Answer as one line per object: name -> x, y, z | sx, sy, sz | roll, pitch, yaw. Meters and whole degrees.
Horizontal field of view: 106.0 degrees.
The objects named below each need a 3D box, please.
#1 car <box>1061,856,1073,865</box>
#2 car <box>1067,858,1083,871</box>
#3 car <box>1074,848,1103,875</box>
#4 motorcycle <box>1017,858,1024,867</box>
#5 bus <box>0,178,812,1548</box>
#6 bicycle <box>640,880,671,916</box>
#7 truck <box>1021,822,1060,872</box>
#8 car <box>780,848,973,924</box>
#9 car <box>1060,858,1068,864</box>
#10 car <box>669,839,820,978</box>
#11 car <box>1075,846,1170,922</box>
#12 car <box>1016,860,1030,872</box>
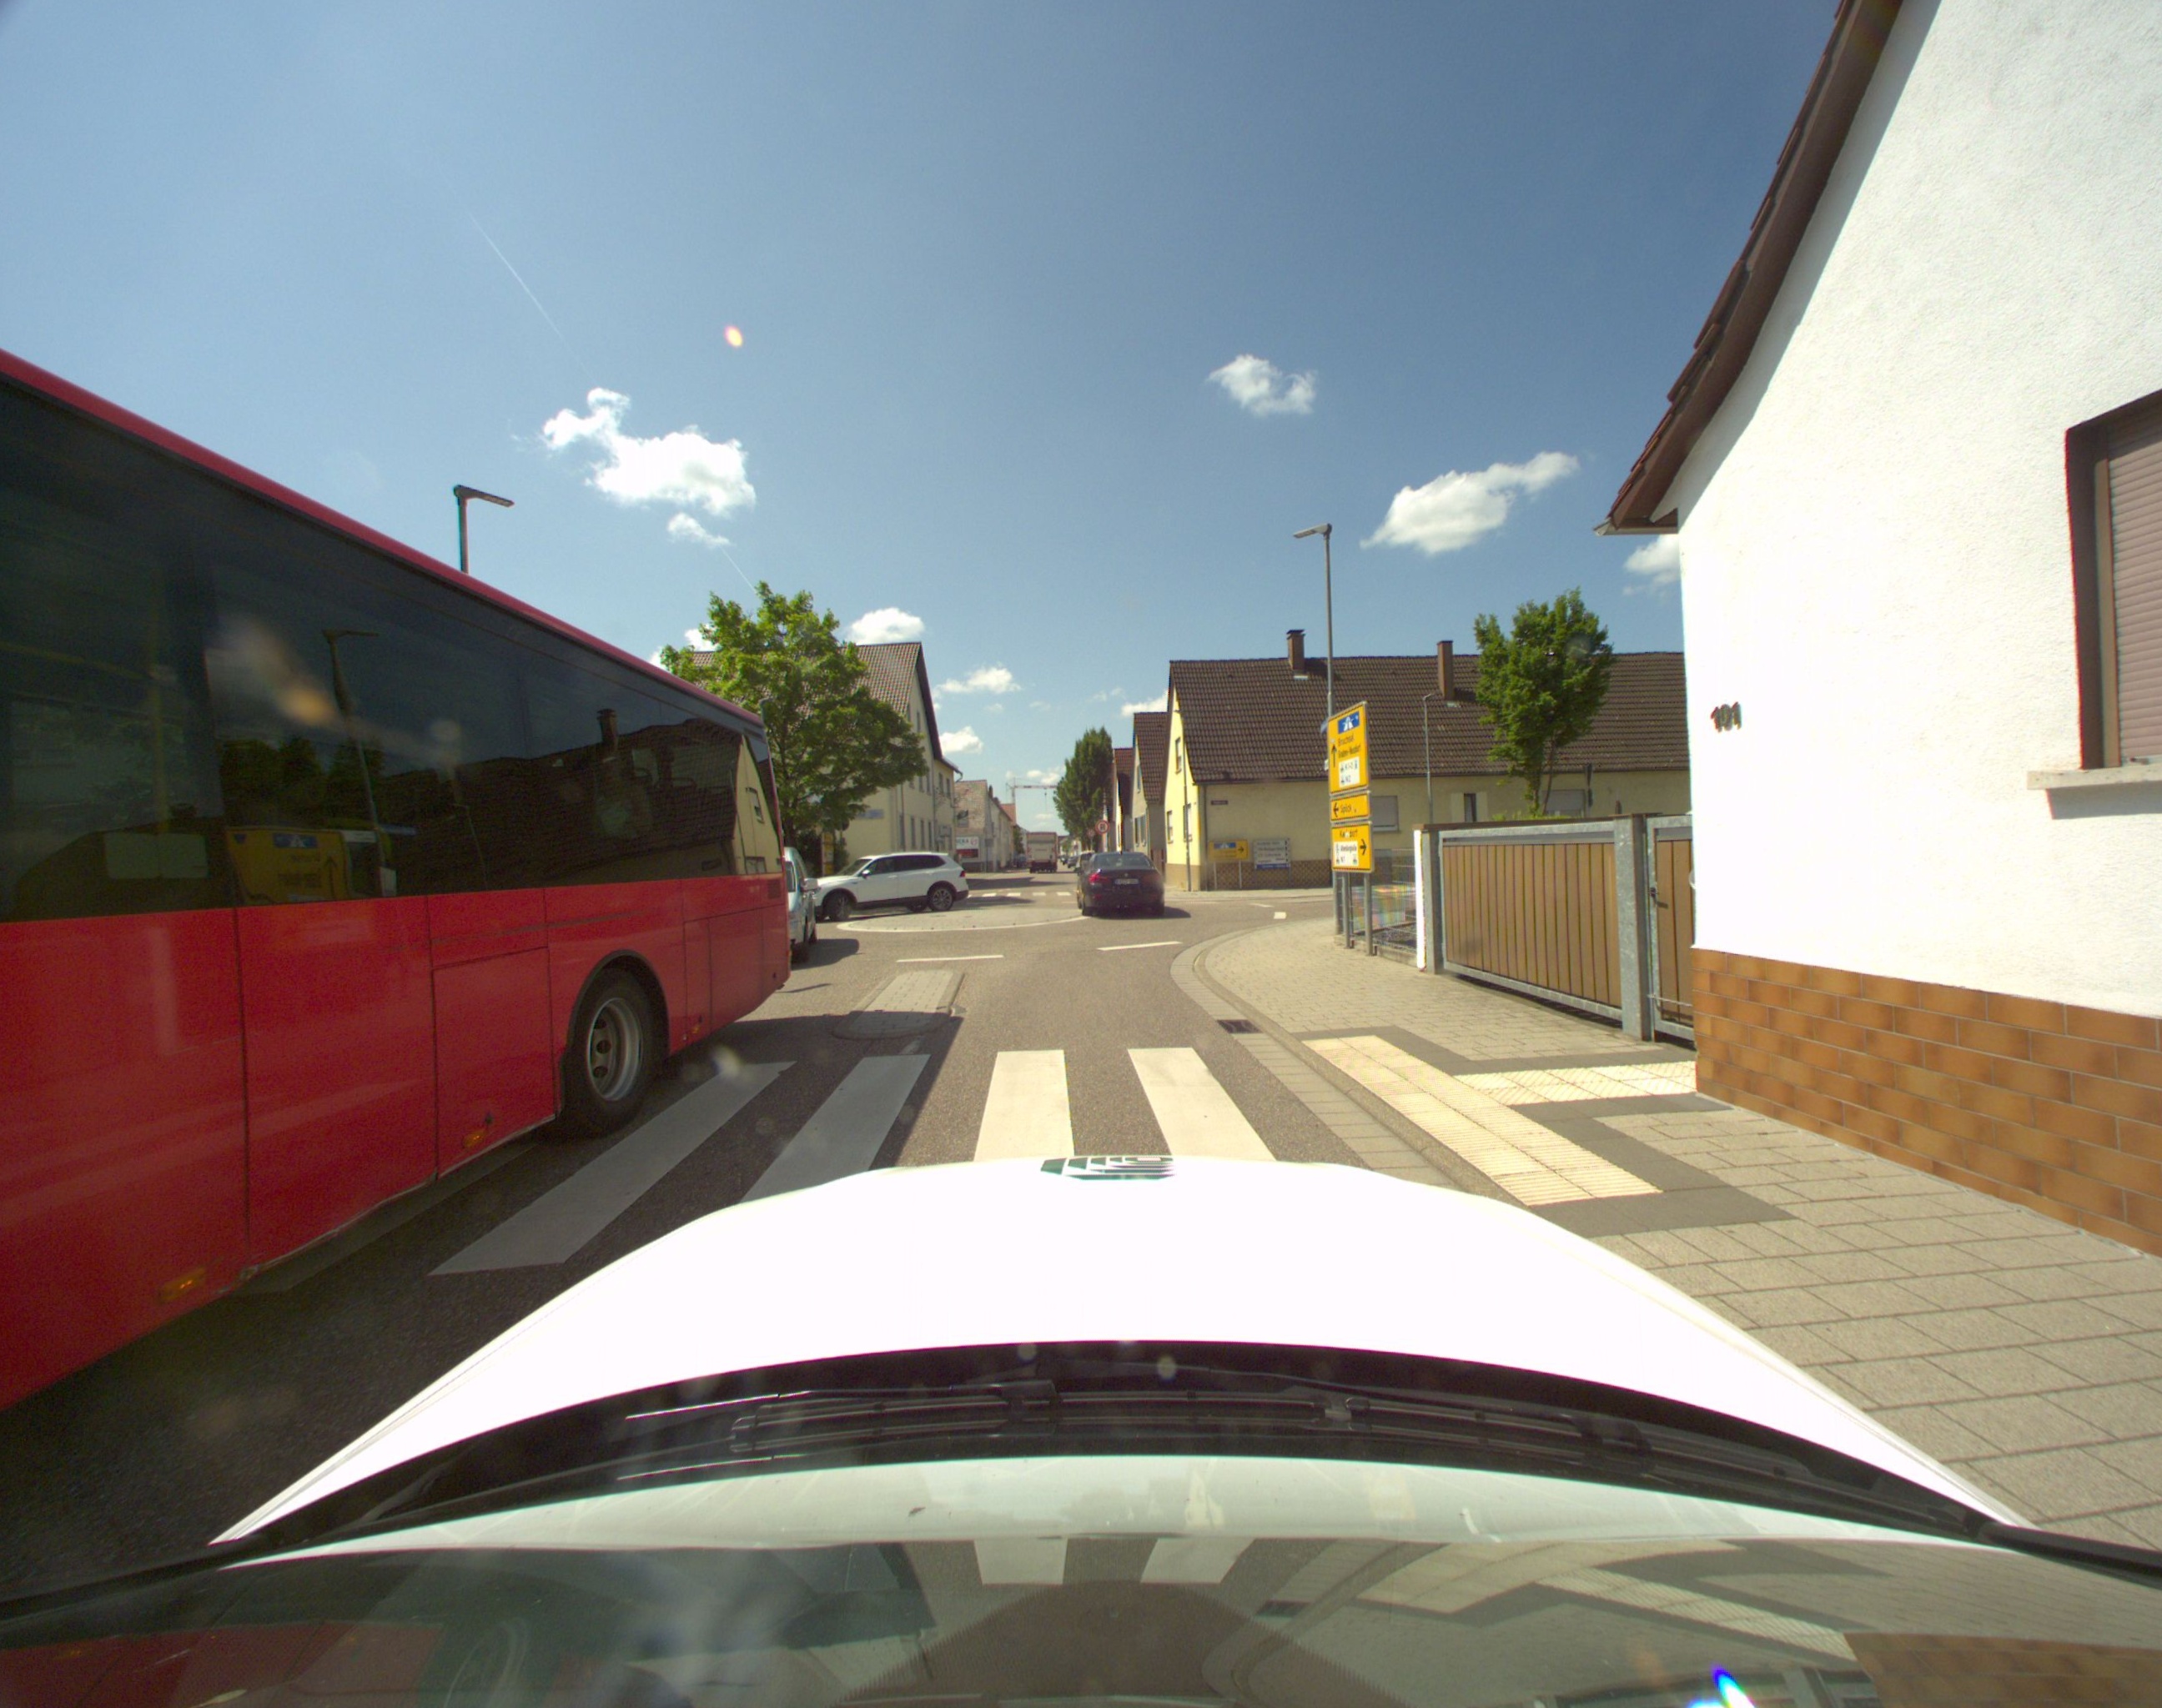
car -> -2.125, 1.019, 124.883 | 1.715, 1.355, 4.153 | -2, 0, -2
car -> -0.703, 1.254, 96.640 | 1.714, 1.461, 4.155 | -2, 0, 0
car -> 0.511, 0.558, 59.780 | 1.716, 1.790, 4.138 | -4, 0, -4
motorcycle -> -7.978, 1.105, 106.733 | 0.844, 1.170, 2.466 | 0, -1, -3
bus -> -3.872, 0.040, 2.271 | 2.621, 3.232, 12.009 | -4, 0, -3
bicycle -> -13.794, 1.414, 26.431 | 0.400, 1.003, 1.973 | -2, 2, -14
truck -> -3.558, -0.557, 73.694 | 3.135, 4.250, 9.298 | 0, -1, -1
car -> -5.358, 0.775, 21.635 | 4.563, 1.710, 1.851 | -2, 0, -36
car -> -3.594, 1.440, 173.996 | 1.715, 1.268, 4.153 | -2, 0, -2
car -> -5.416, 0.774, 13.634 | 1.776, 1.821, 4.416 | -4, 0, -17
car -> 0.875, 0.626, 19.624 | 1.897, 1.563, 4.473 | -2, 0, -2
car -> -7.892, 1.610, 110.696 | 1.805, 1.589, 3.996 | -2, 0, -3
